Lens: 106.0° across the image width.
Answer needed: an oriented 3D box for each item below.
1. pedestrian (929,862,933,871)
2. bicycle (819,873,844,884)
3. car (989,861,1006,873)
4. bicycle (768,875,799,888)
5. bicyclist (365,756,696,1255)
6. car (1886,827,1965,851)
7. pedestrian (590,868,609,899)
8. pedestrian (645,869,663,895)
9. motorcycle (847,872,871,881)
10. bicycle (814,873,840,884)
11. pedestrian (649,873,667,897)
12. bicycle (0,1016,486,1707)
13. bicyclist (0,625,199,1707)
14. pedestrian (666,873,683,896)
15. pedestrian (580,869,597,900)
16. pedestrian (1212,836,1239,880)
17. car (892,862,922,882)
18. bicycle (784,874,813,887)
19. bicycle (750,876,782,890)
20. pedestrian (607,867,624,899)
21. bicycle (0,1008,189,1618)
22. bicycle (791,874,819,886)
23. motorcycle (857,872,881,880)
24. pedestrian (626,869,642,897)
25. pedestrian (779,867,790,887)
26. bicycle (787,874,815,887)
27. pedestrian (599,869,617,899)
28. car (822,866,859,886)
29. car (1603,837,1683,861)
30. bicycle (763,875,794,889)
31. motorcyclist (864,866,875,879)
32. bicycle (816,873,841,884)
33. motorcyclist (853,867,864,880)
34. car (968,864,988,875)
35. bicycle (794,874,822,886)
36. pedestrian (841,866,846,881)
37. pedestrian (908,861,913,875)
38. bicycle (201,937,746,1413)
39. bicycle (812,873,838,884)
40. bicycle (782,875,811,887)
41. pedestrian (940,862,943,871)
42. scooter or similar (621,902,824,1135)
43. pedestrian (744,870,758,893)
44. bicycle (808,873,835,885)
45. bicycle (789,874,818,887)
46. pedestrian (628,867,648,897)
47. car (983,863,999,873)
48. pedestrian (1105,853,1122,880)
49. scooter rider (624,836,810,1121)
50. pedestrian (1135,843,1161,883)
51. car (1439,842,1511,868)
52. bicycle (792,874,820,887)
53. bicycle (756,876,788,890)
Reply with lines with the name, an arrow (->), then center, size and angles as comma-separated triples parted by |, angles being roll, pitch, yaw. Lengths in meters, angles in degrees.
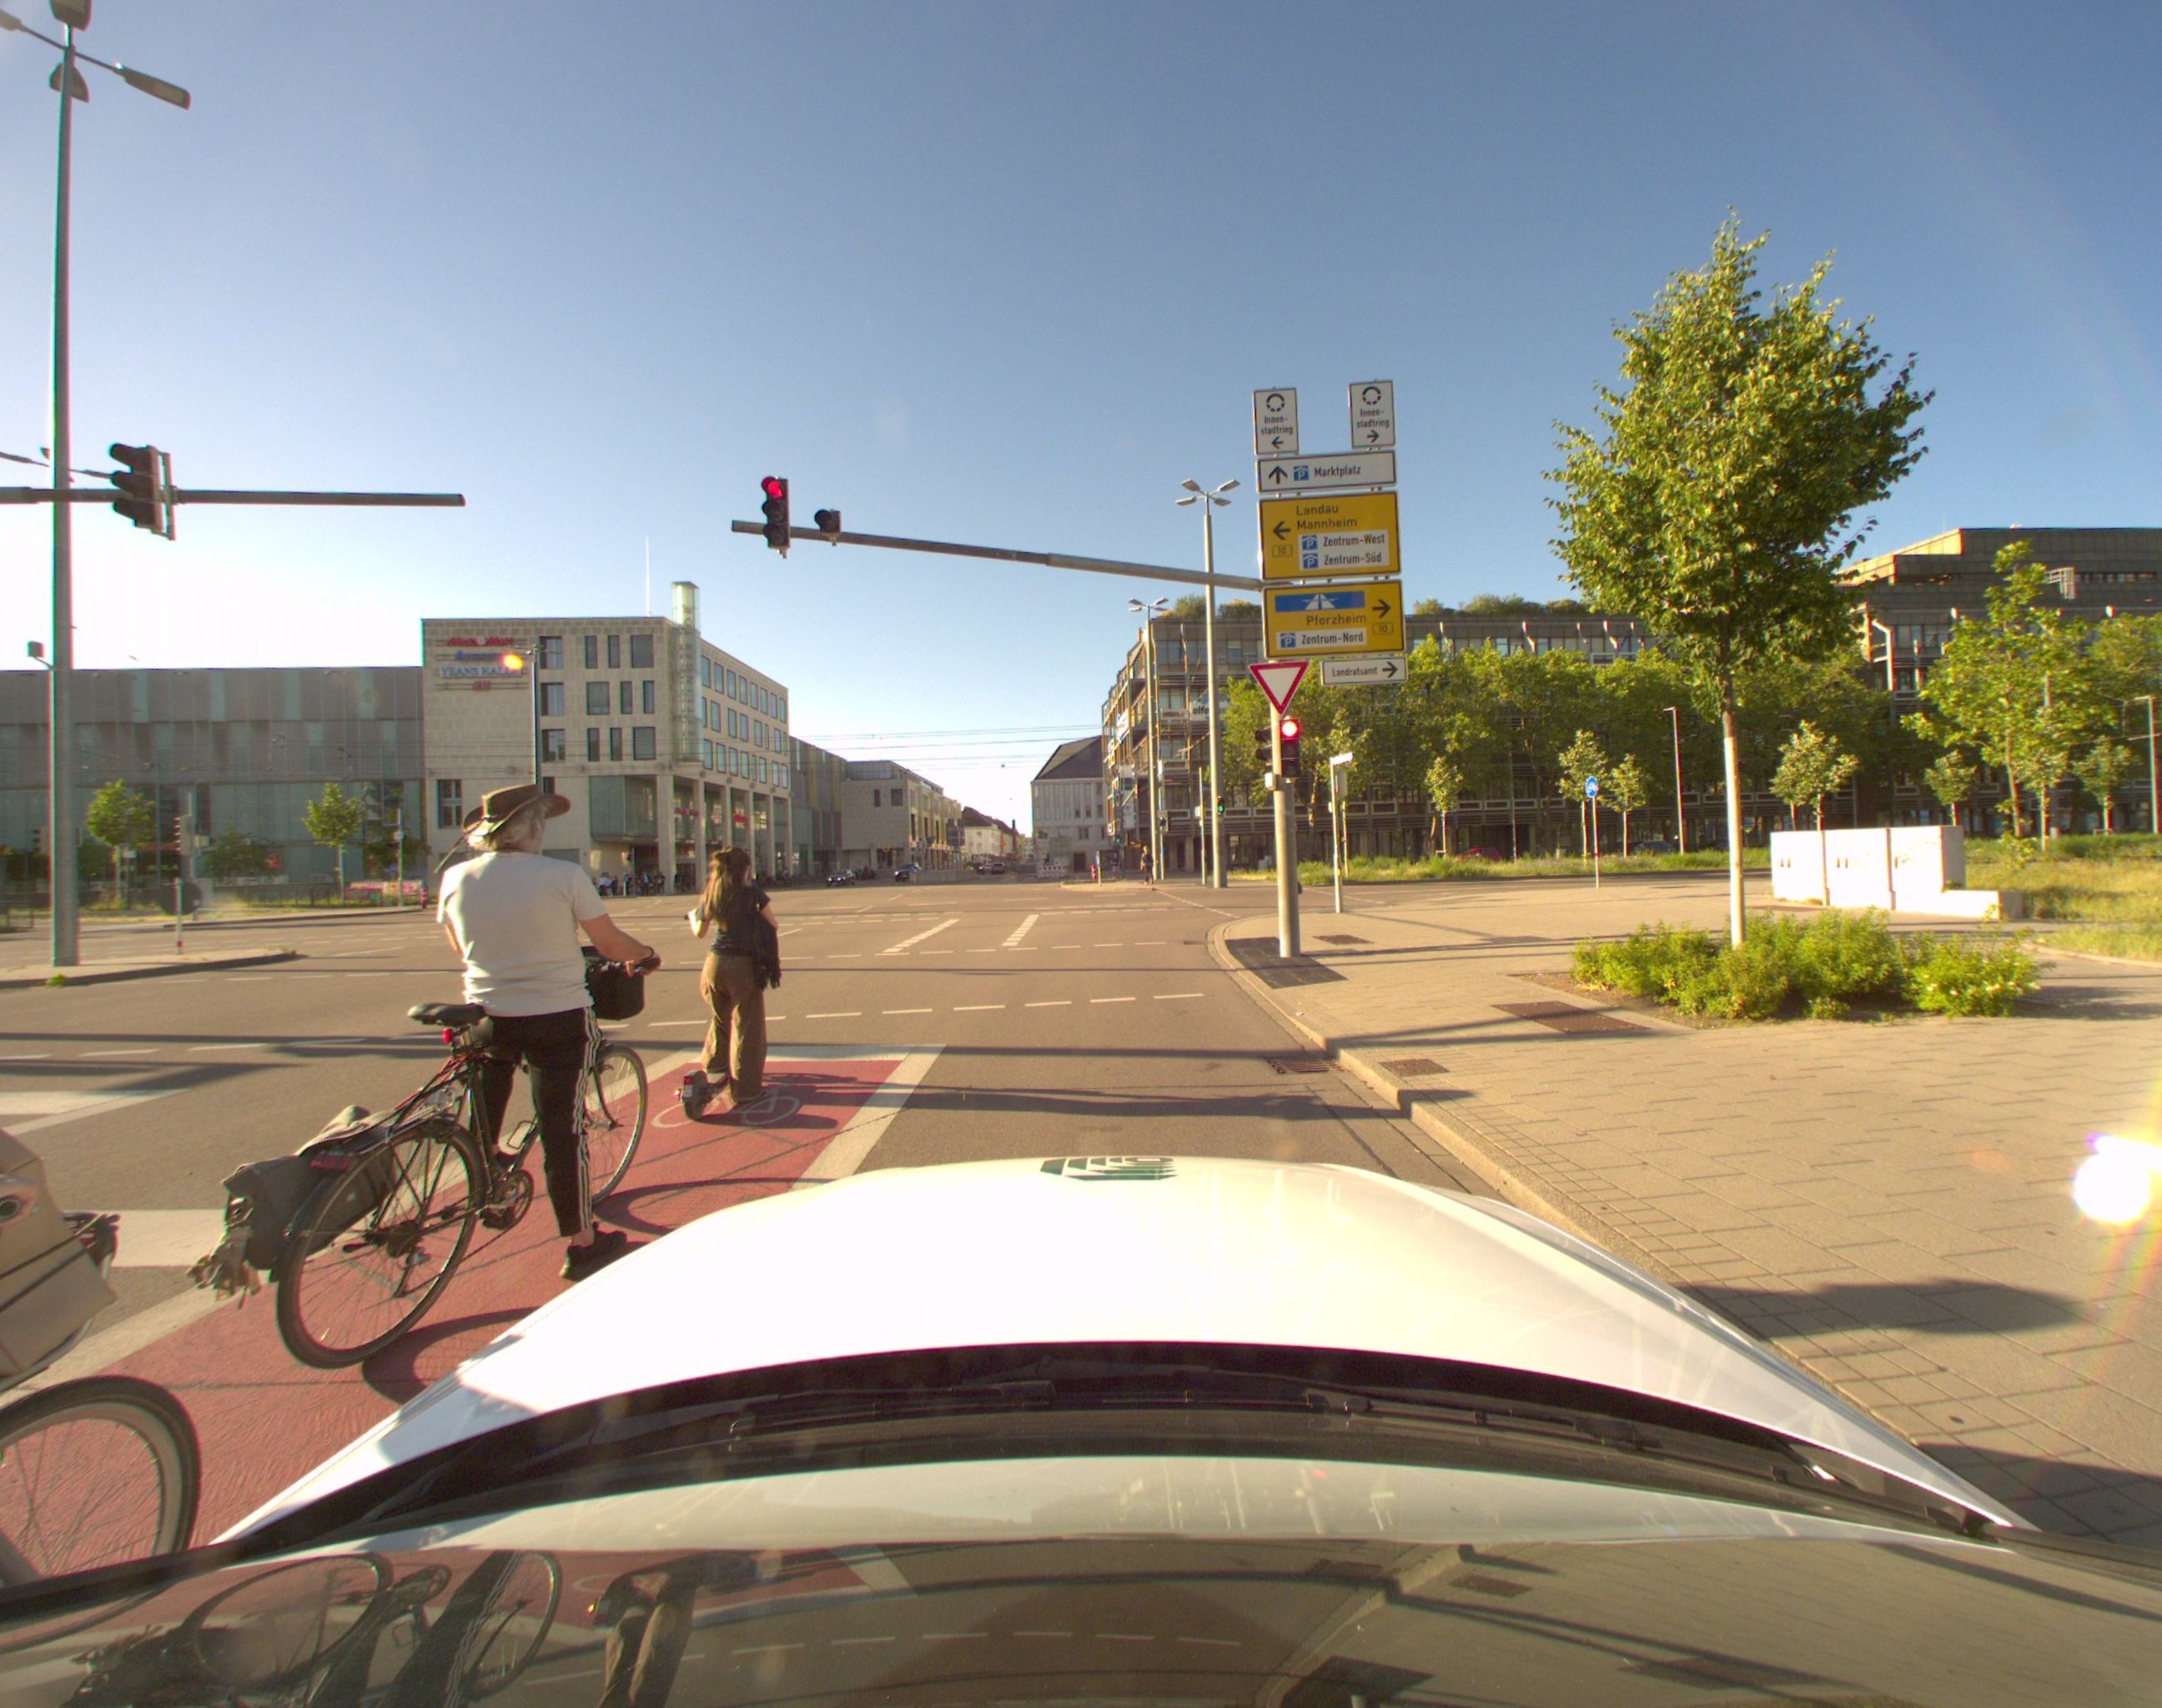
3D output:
pedestrian -> -23.469, 2.003, 127.426 | 0.487, 1.356, 0.563 | 0, -1, -4
bicycle -> -26.958, 2.621, 88.084 | 2.458, 1.111, 0.661 | -2, 0, 2
car -> -11.139, 1.773, 108.814 | 1.931, 1.450, 4.259 | -2, -1, -2
bicycle -> -26.613, 2.477, 72.877 | 2.458, 1.111, 0.684 | -2, 0, 2
bicyclist -> -2.056, 0.513, 3.161 | 0.697, 1.669, 0.786 | -2, 0, 0
car -> 64.809, -1.139, 62.518 | 4.255, 1.596, 1.864 | -2, -1, -4
pedestrian -> -33.925, 2.051, 57.368 | 0.896, 2.124, 0.943 | -2, -1, -13
pedestrian -> -33.326, 2.167, 63.584 | 0.914, 2.014, 1.020 | -2, -1, -10
motorcycle -> -25.918, 2.659, 95.143 | 2.664, 0.996, 0.914 | 0, -1, -6
bicycle -> -26.917, 2.609, 86.247 | 2.458, 1.111, 0.661 | -2, 0, 2
pedestrian -> -30.834, 2.249, 59.396 | 1.012, 1.651, 0.938 | -1, -1, -37
bicycle -> -1.688, 0.921, 0.926 | 0.648, 1.094, 1.800 | -2, 0, 1
bicyclist -> -1.699, 0.486, 0.820 | 0.648, 1.543, 0.847 | -2, 0, 1
pedestrian -> -29.220, 2.189, 58.602 | 0.950, 1.571, 0.832 | -1, -1, -36
pedestrian -> -35.274, 2.170, 58.332 | 0.900, 2.124, 0.939 | -1, -1, -25
pedestrian -> 5.914, 0.170, 33.342 | 0.854, 1.744, 0.737 | -2, 0, -7
car -> -15.902, 1.605, 74.639 | 1.933, 1.677, 4.290 | -2, -1, -3
bicycle -> -26.654, 2.530, 76.809 | 2.458, 1.111, 0.538 | -2, 0, 2
bicycle -> -26.836, 2.485, 69.360 | 2.394, 1.113, 0.658 | -2, 0, 1
pedestrian -> -32.531, 2.021, 56.927 | 0.902, 2.124, 0.937 | -1, -1, -34
bicycle -> -2.428, 0.929, 0.999 | 0.621, 1.116, 1.816 | -2, 0, 1
bicycle -> -27.141, 2.560, 80.023 | 2.458, 1.111, 0.684 | -2, 0, 2
motorcycle -> -25.625, 2.685, 98.587 | 2.664, 0.996, 0.914 | 0, -1, -6
pedestrian -> -32.624, 2.127, 59.409 | 0.920, 2.014, 1.014 | -1, -1, -31
pedestrian -> -30.224, 2.332, 83.004 | 0.949, 1.982, 1.000 | -1, -1, -23
bicycle -> -26.618, 2.536, 77.456 | 2.458, 1.111, 0.684 | -2, 0, 2
pedestrian -> -34.166, 2.166, 58.831 | 0.899, 2.124, 0.940 | -1, -1, -21
car -> -20.823, 1.889, 70.690 | 1.931, 1.581, 4.293 | -2, 0, 0
car -> 41.775, -0.382, 60.602 | 4.848, 1.680, 1.995 | -2, 1, -7
bicycle -> -26.733, 2.483, 72.070 | 2.457, 1.111, 0.685 | -2, 0, 4
motorcyclist -> -25.604, 2.259, 98.607 | 1.135, 1.575, 0.914 | 0, -1, -5
bicycle -> -26.989, 2.624, 86.939 | 2.458, 1.111, 0.631 | -2, 0, 2
motorcyclist -> -26.002, 2.261, 95.129 | 1.035, 1.471, 0.914 | 0, -1, -5
car -> -15.920, 2.416, 126.359 | 2.166, 1.692, 5.488 | -2, -1, 1
bicycle -> -27.196, 2.570, 81.277 | 2.458, 1.111, 0.835 | -2, 0, 2
pedestrian -> -33.346, 2.717, 114.252 | 0.616, 2.014, 0.476 | 0, -1, -13
pedestrian -> -24.562, 2.008, 117.172 | 0.616, 2.014, 0.476 | 0, -1, -13
bicycle -> -2.036, 0.970, 3.131 | 0.704, 1.094, 1.800 | -2, 0, 0
bicycle -> -26.871, 2.594, 85.499 | 2.458, 1.111, 0.661 | -2, 0, 2
bicycle -> -26.649, 2.526, 76.202 | 2.458, 1.111, 0.594 | -2, 0, 2
pedestrian -> -22.417, 2.022, 130.741 | 0.487, 1.356, 0.563 | 0, -1, -4
scooter or similar -> -2.184, 0.936, 5.172 | 0.640, 1.175, 1.483 | -1, 0, -1
pedestrian -> -25.442, 2.110, 62.735 | 0.748, 1.740, 0.756 | -2, -1, -1
bicycle -> -26.995, 2.601, 84.662 | 2.458, 1.111, 0.835 | -2, 0, 2
bicycle -> -26.658, 2.536, 78.233 | 2.458, 1.111, 0.684 | -2, 0, 2
pedestrian -> -31.602, 1.990, 58.099 | 1.069, 2.129, 1.085 | -1, -1, -40
car -> -16.585, 2.543, 150.644 | 2.167, 1.692, 5.614 | -2, -1, 0
pedestrian -> 2.271, 0.872, 57.350 | 1.006, 1.911, 1.053 | -2, 0, 9
scooter rider -> -2.171, 0.678, 5.005 | 0.640, 1.544, 1.116 | -1, 0, -1
pedestrian -> 2.706, 0.358, 33.034 | 0.894, 1.549, 0.922 | -2, 1, -5
car -> 26.426, 0.105, 54.717 | 3.859, 1.486, 1.843 | -2, -3, -4
bicycle -> -26.692, 2.543, 79.068 | 2.458, 1.111, 0.835 | -2, 0, 2
bicycle -> -26.818, 2.484, 70.706 | 2.458, 1.111, 0.684 | -2, 0, 2
